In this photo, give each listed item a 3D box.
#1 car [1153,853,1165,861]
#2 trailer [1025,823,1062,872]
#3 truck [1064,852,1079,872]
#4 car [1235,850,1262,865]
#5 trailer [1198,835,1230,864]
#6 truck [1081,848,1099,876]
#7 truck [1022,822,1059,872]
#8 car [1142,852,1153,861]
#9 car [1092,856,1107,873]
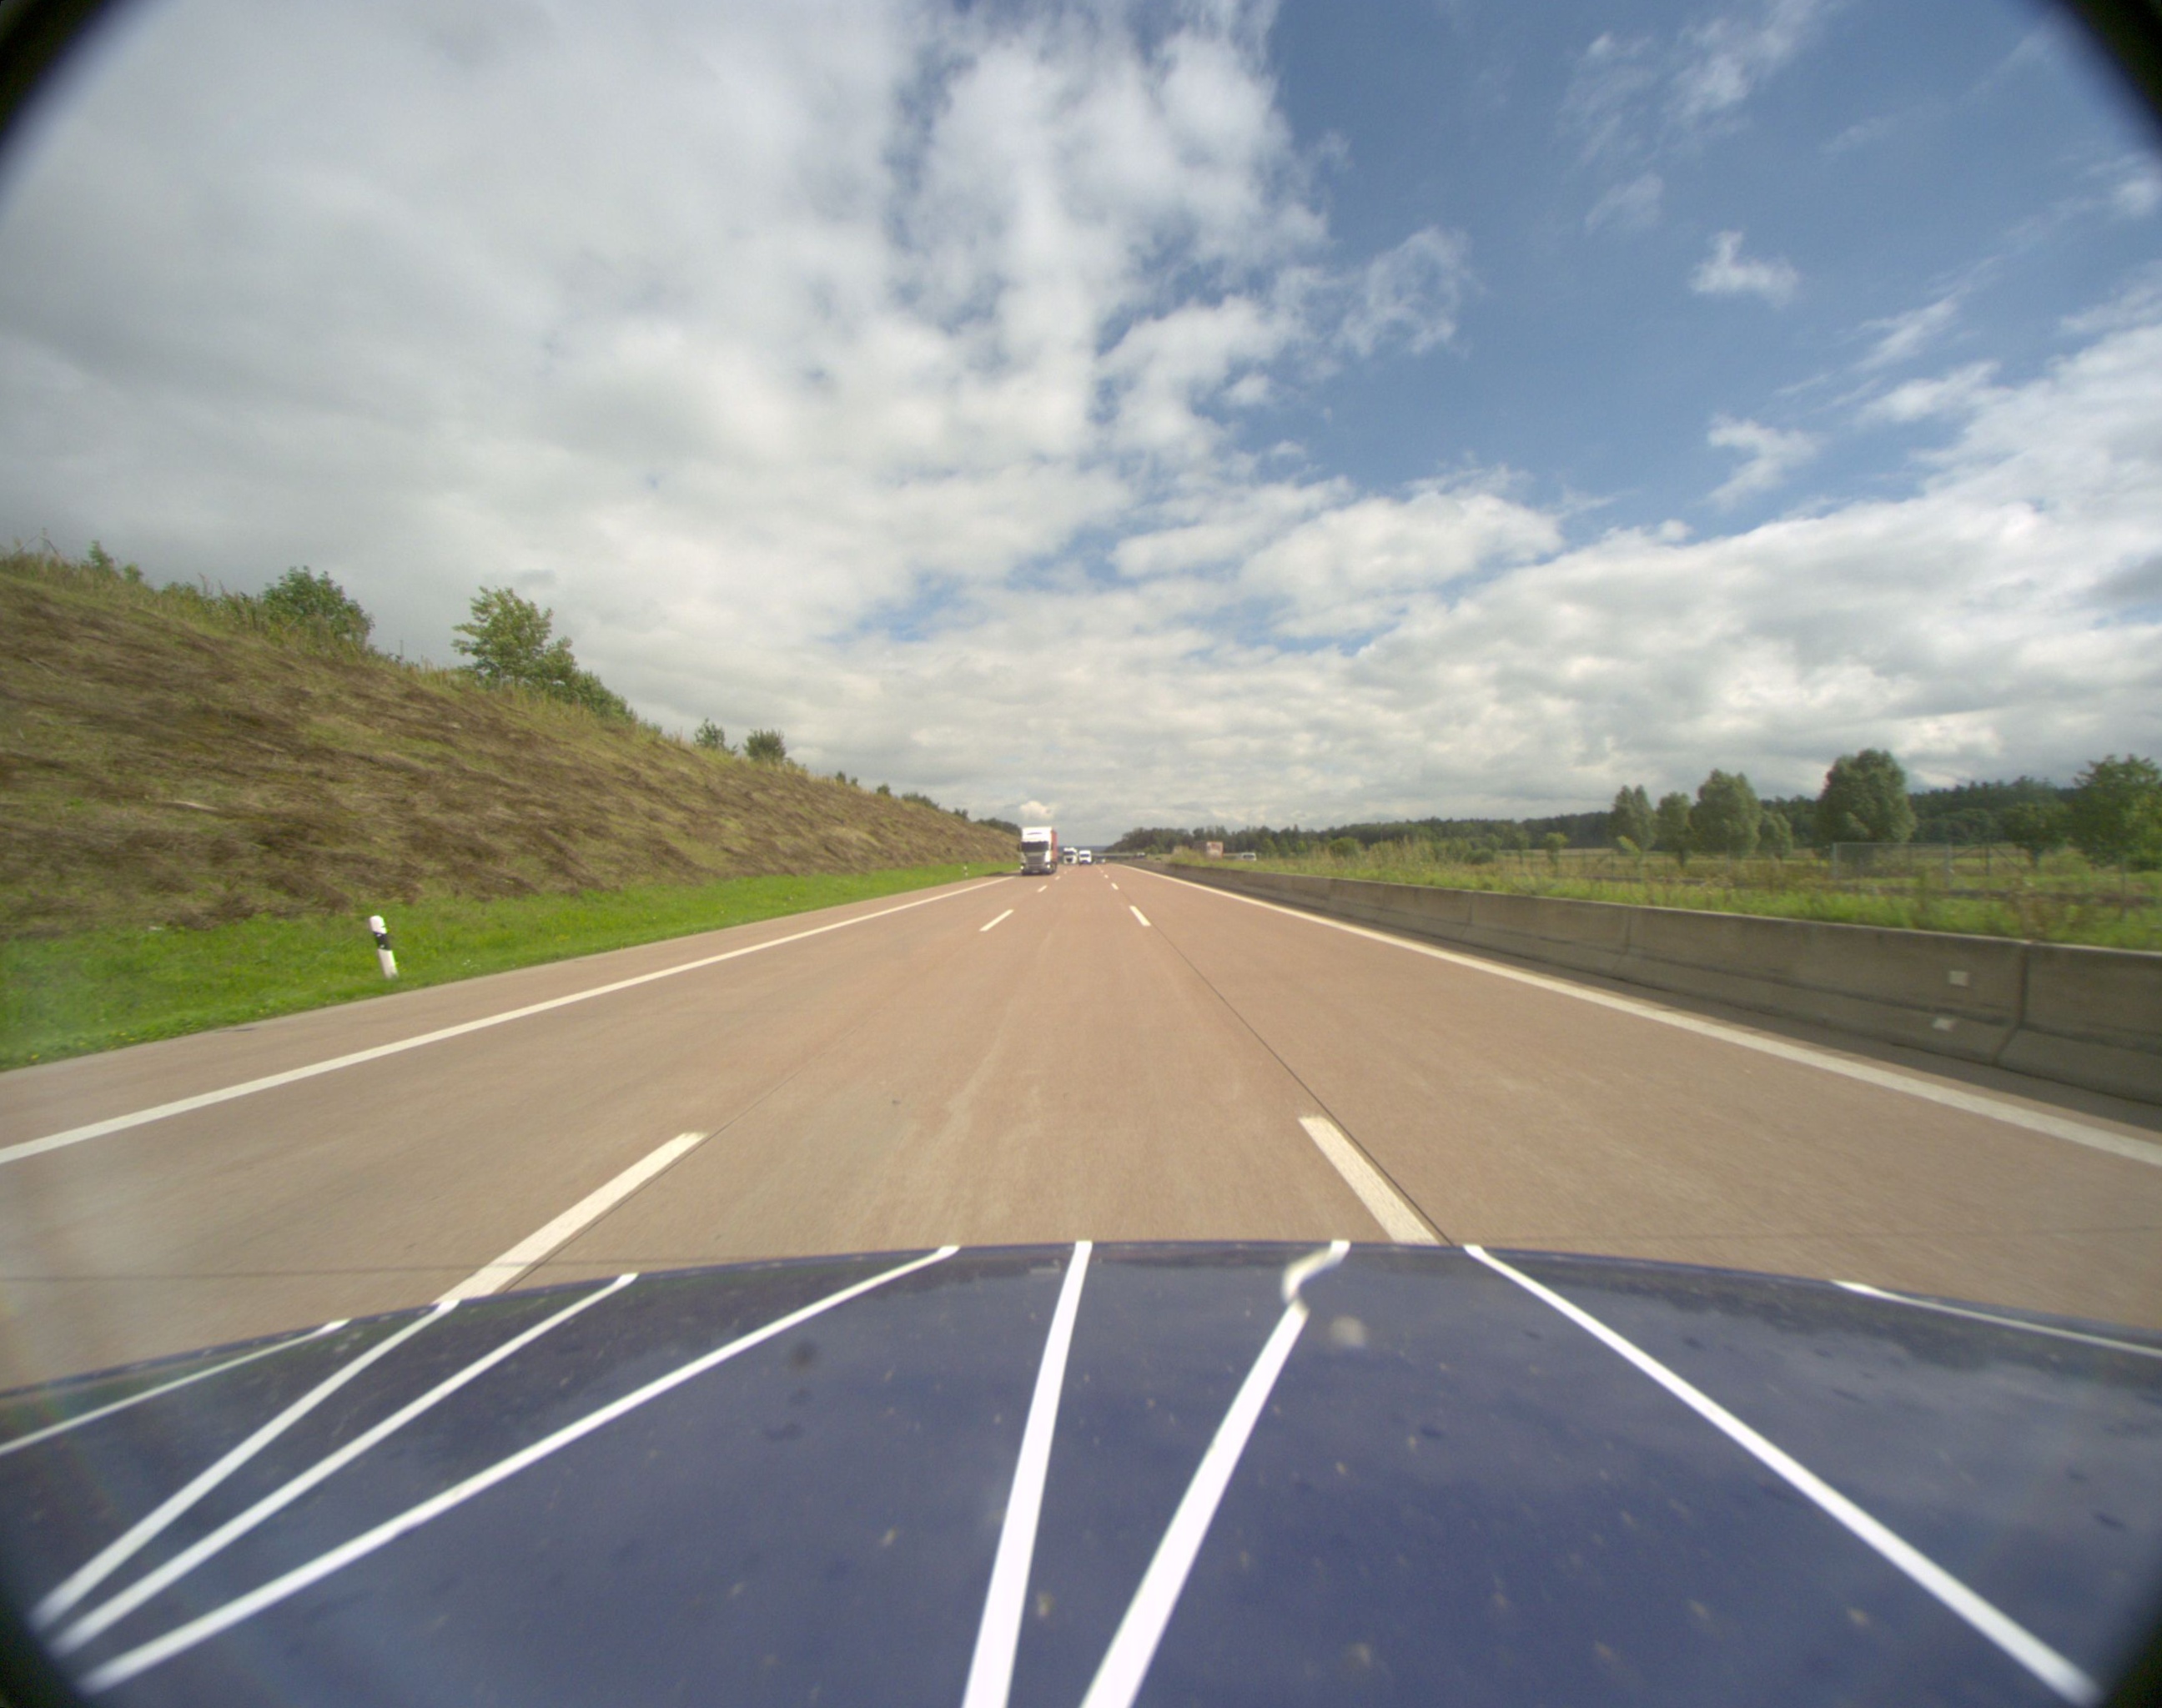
[{"bbox_3d":[17.340,0.685,169.206,1.998,1.565,5.218,-3,0,0],"label":"car"},{"bbox_3d":[-3.356,-0.545,71.398,2.679,4.069,12.789,-1,0,1],"label":"trailer"},{"bbox_3d":[-2.117,1.787,174.795,3.107,4.333,11.256,-2,0,1],"label":"truck"},{"bbox_3d":[20.649,0.380,93.889,2.063,1.835,5.728,0,0,1],"label":"car"},{"bbox_3d":[21.143,-0.725,121.704,3.029,4.239,12.095,-2,0,1],"label":"trailer"},{"bbox_3d":[1.520,1.311,130.394,2.681,4.333,11.808,-2,0,1],"label":"truck"},{"bbox_3d":[-3.417,-0.564,65.444,2.681,4.082,6.616,-1,0,1],"label":"truck"},{"bbox_3d":[9.322,0.337,107.020,1.225,1.145,2.757,-2,0,1],"label":"car"},{"bbox_3d":[3.674,2.128,152.843,2.773,3.260,6.393,-2,0,1],"label":"car"}]
